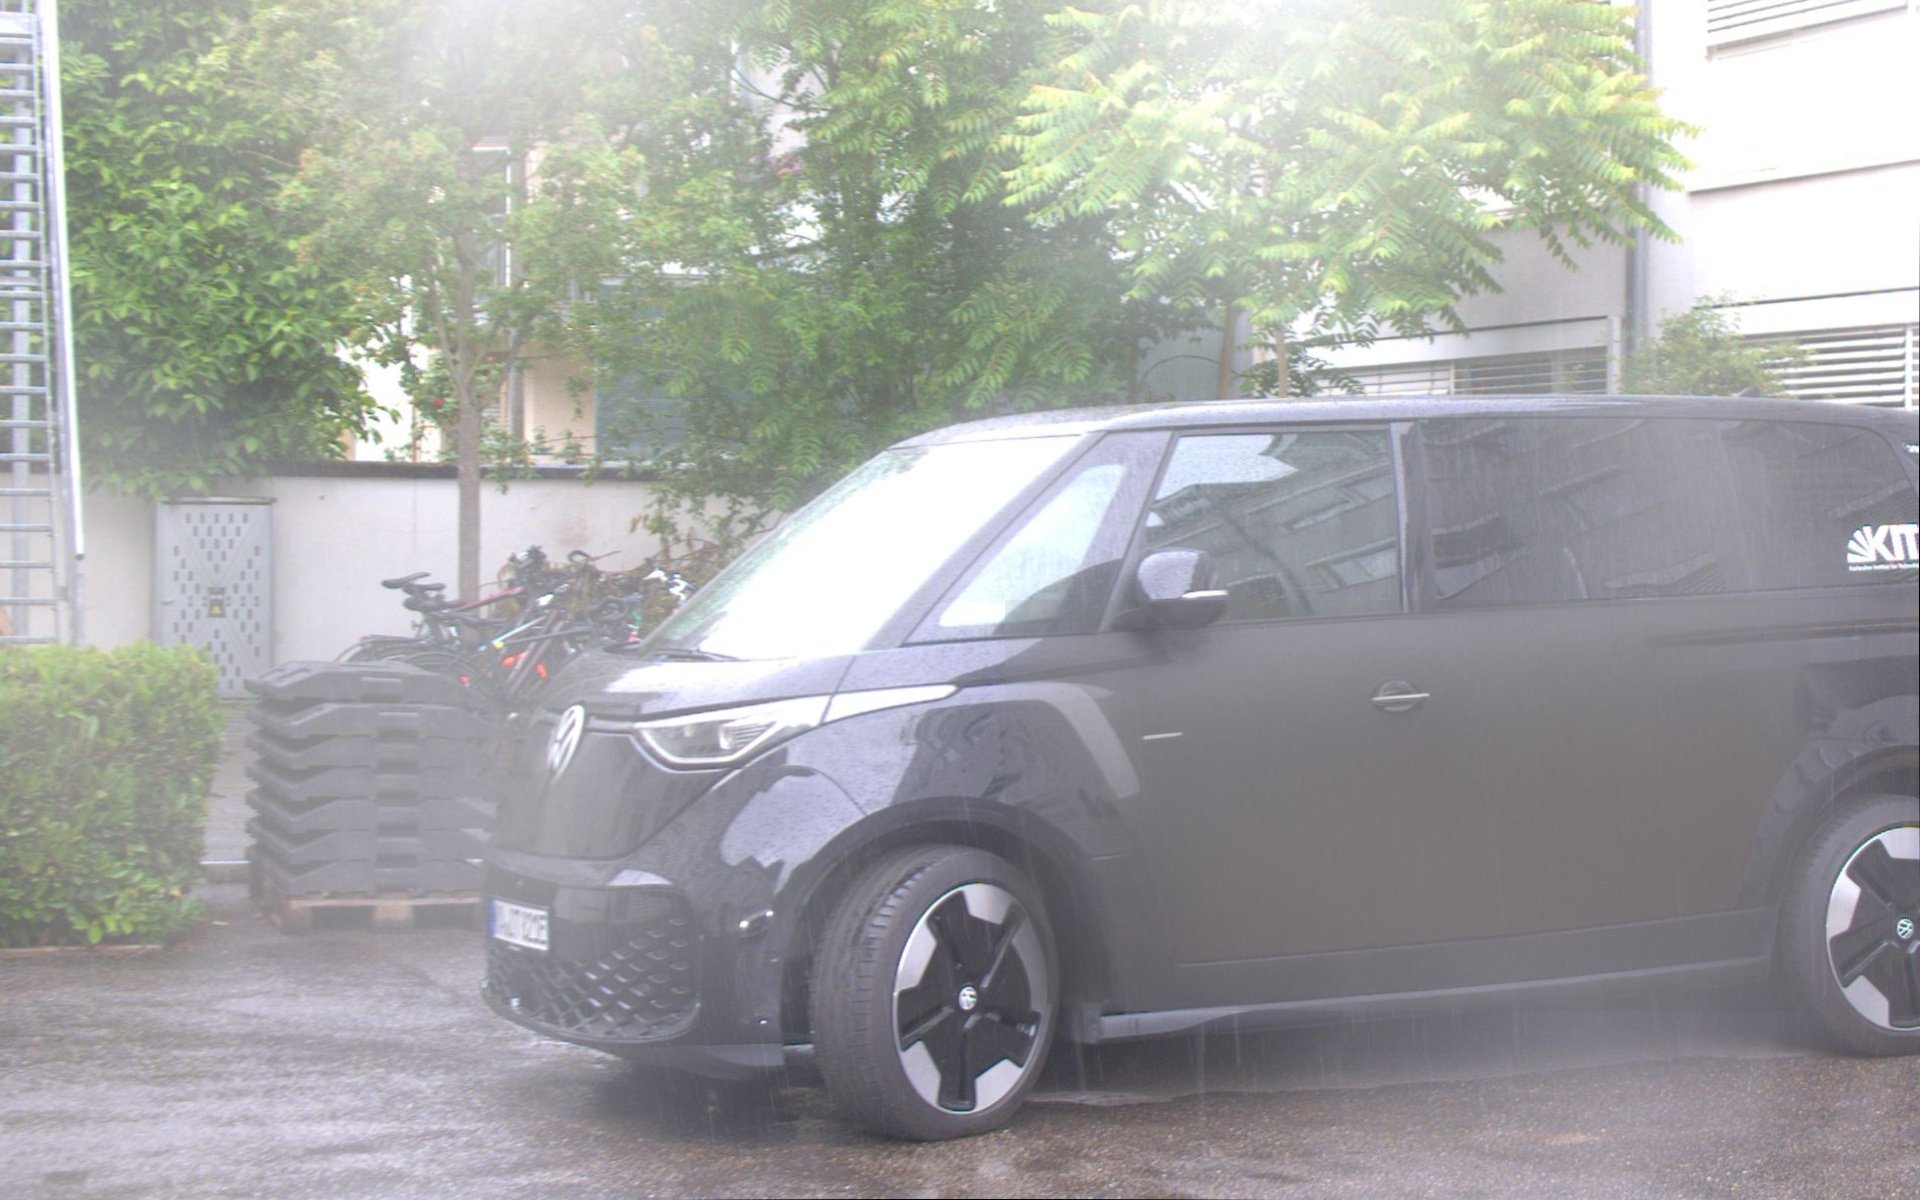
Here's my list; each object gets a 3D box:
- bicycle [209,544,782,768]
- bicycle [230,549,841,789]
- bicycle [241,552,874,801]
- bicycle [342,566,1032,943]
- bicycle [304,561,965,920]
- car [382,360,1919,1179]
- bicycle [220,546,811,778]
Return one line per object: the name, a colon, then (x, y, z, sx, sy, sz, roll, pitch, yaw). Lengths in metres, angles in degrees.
bicycle: (-2.659, 0.297, 19.828, 3.213, 1.237, 0.631, 0, 0, -20)
bicycle: (-2.268, 0.345, 18.561, 3.213, 1.237, 0.631, 0, 0, -20)
bicycle: (-2.072, 0.371, 17.889, 3.213, 1.237, 0.631, 0, 0, -20)
bicycle: (-1.270, 0.686, 16.316, 3.213, 1.697, 0.631, 0, 0, -20)
bicycle: (-1.595, 0.654, 17.102, 3.213, 1.697, 0.631, 0, 0, -20)
car: (0.830, 0.367, 9.814, 4.507, 1.891, 2.047, 0, 1, -25)
bicycle: (-2.464, 0.321, 19.205, 3.213, 1.237, 0.631, 0, 0, -20)
